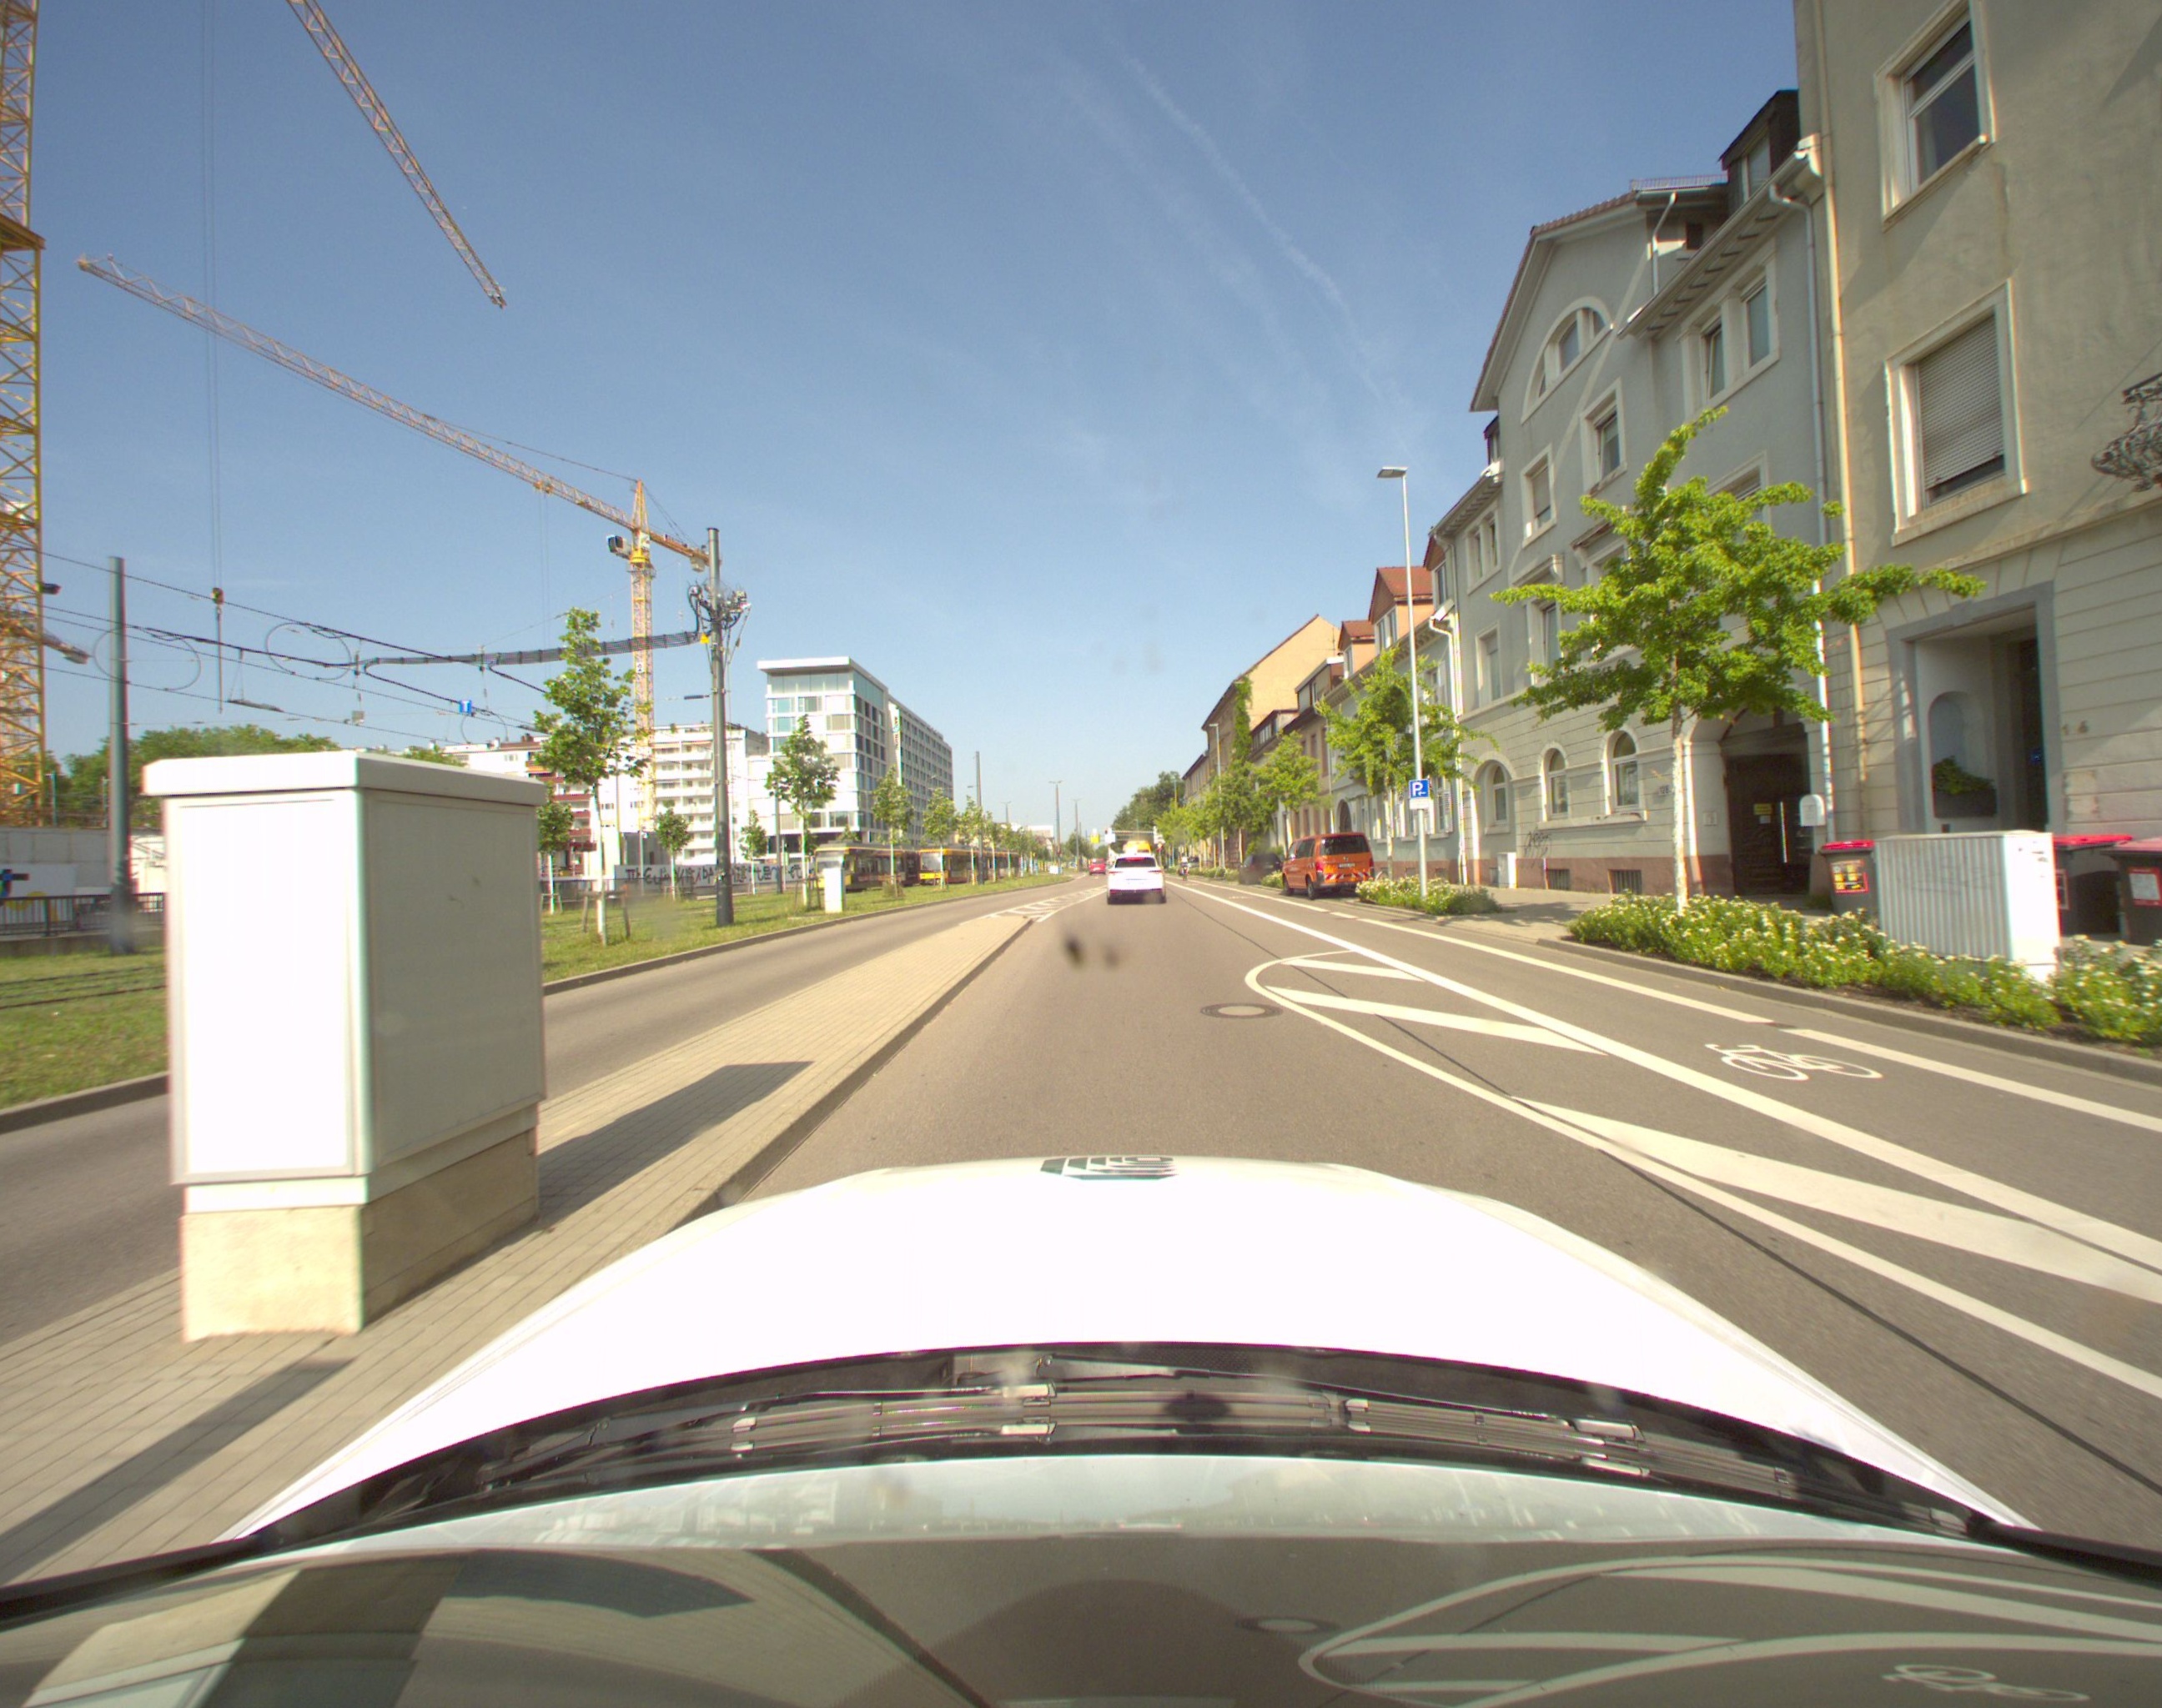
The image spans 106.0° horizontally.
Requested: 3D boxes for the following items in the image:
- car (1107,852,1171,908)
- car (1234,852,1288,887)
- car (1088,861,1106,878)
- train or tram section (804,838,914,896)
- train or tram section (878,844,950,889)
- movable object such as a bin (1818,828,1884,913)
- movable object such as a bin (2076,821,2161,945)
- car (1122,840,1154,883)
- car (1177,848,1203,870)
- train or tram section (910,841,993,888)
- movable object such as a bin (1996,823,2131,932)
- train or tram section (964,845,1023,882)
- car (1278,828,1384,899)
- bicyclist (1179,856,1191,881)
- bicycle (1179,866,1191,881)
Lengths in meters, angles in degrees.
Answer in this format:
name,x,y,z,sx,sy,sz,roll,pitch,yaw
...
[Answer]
name,x,y,z,sx,sy,sz,roll,pitch,yaw
car,1.820,0.786,26.342,1.862,1.574,4.002,-3,0,2
car,8.601,0.736,39.285,1.667,1.483,4.314,-4,-1,2
car,1.856,1.731,93.282,1.922,1.821,4.003,-2,0,3
train or tram section,-15.564,0.855,58.831,2.848,3.537,14.912,-2,0,4
train or tram section,-14.679,1.059,73.062,2.869,3.537,13.620,-2,0,3
movable object such as a bin,10.910,0.217,11.537,0.674,1.152,0.610,-3,2,-42
movable object such as a bin,10.796,0.268,8.115,0.778,1.172,0.808,-2,1,1
car,4.011,0.448,57.779,2.012,2.795,5.404,-3,1,2
car,9.280,0.407,69.654,1.806,1.812,3.837,-2,0,2
train or tram section,-11.196,0.918,73.315,2.892,3.676,18.161,-1,-1,5
movable object such as a bin,10.931,0.246,9.083,0.702,1.152,0.671,-2,1,1
train or tram section,-9.497,1.096,91.470,2.892,3.707,18.315,-1,-1,5
car,7.915,0.271,26.289,2.055,2.013,4.590,-3,0,2
bicyclist,6.738,0.910,52.871,0.636,1.577,0.772,-2,-1,4
bicycle,6.746,1.239,52.849,0.652,0.939,1.519,-2,0,4
